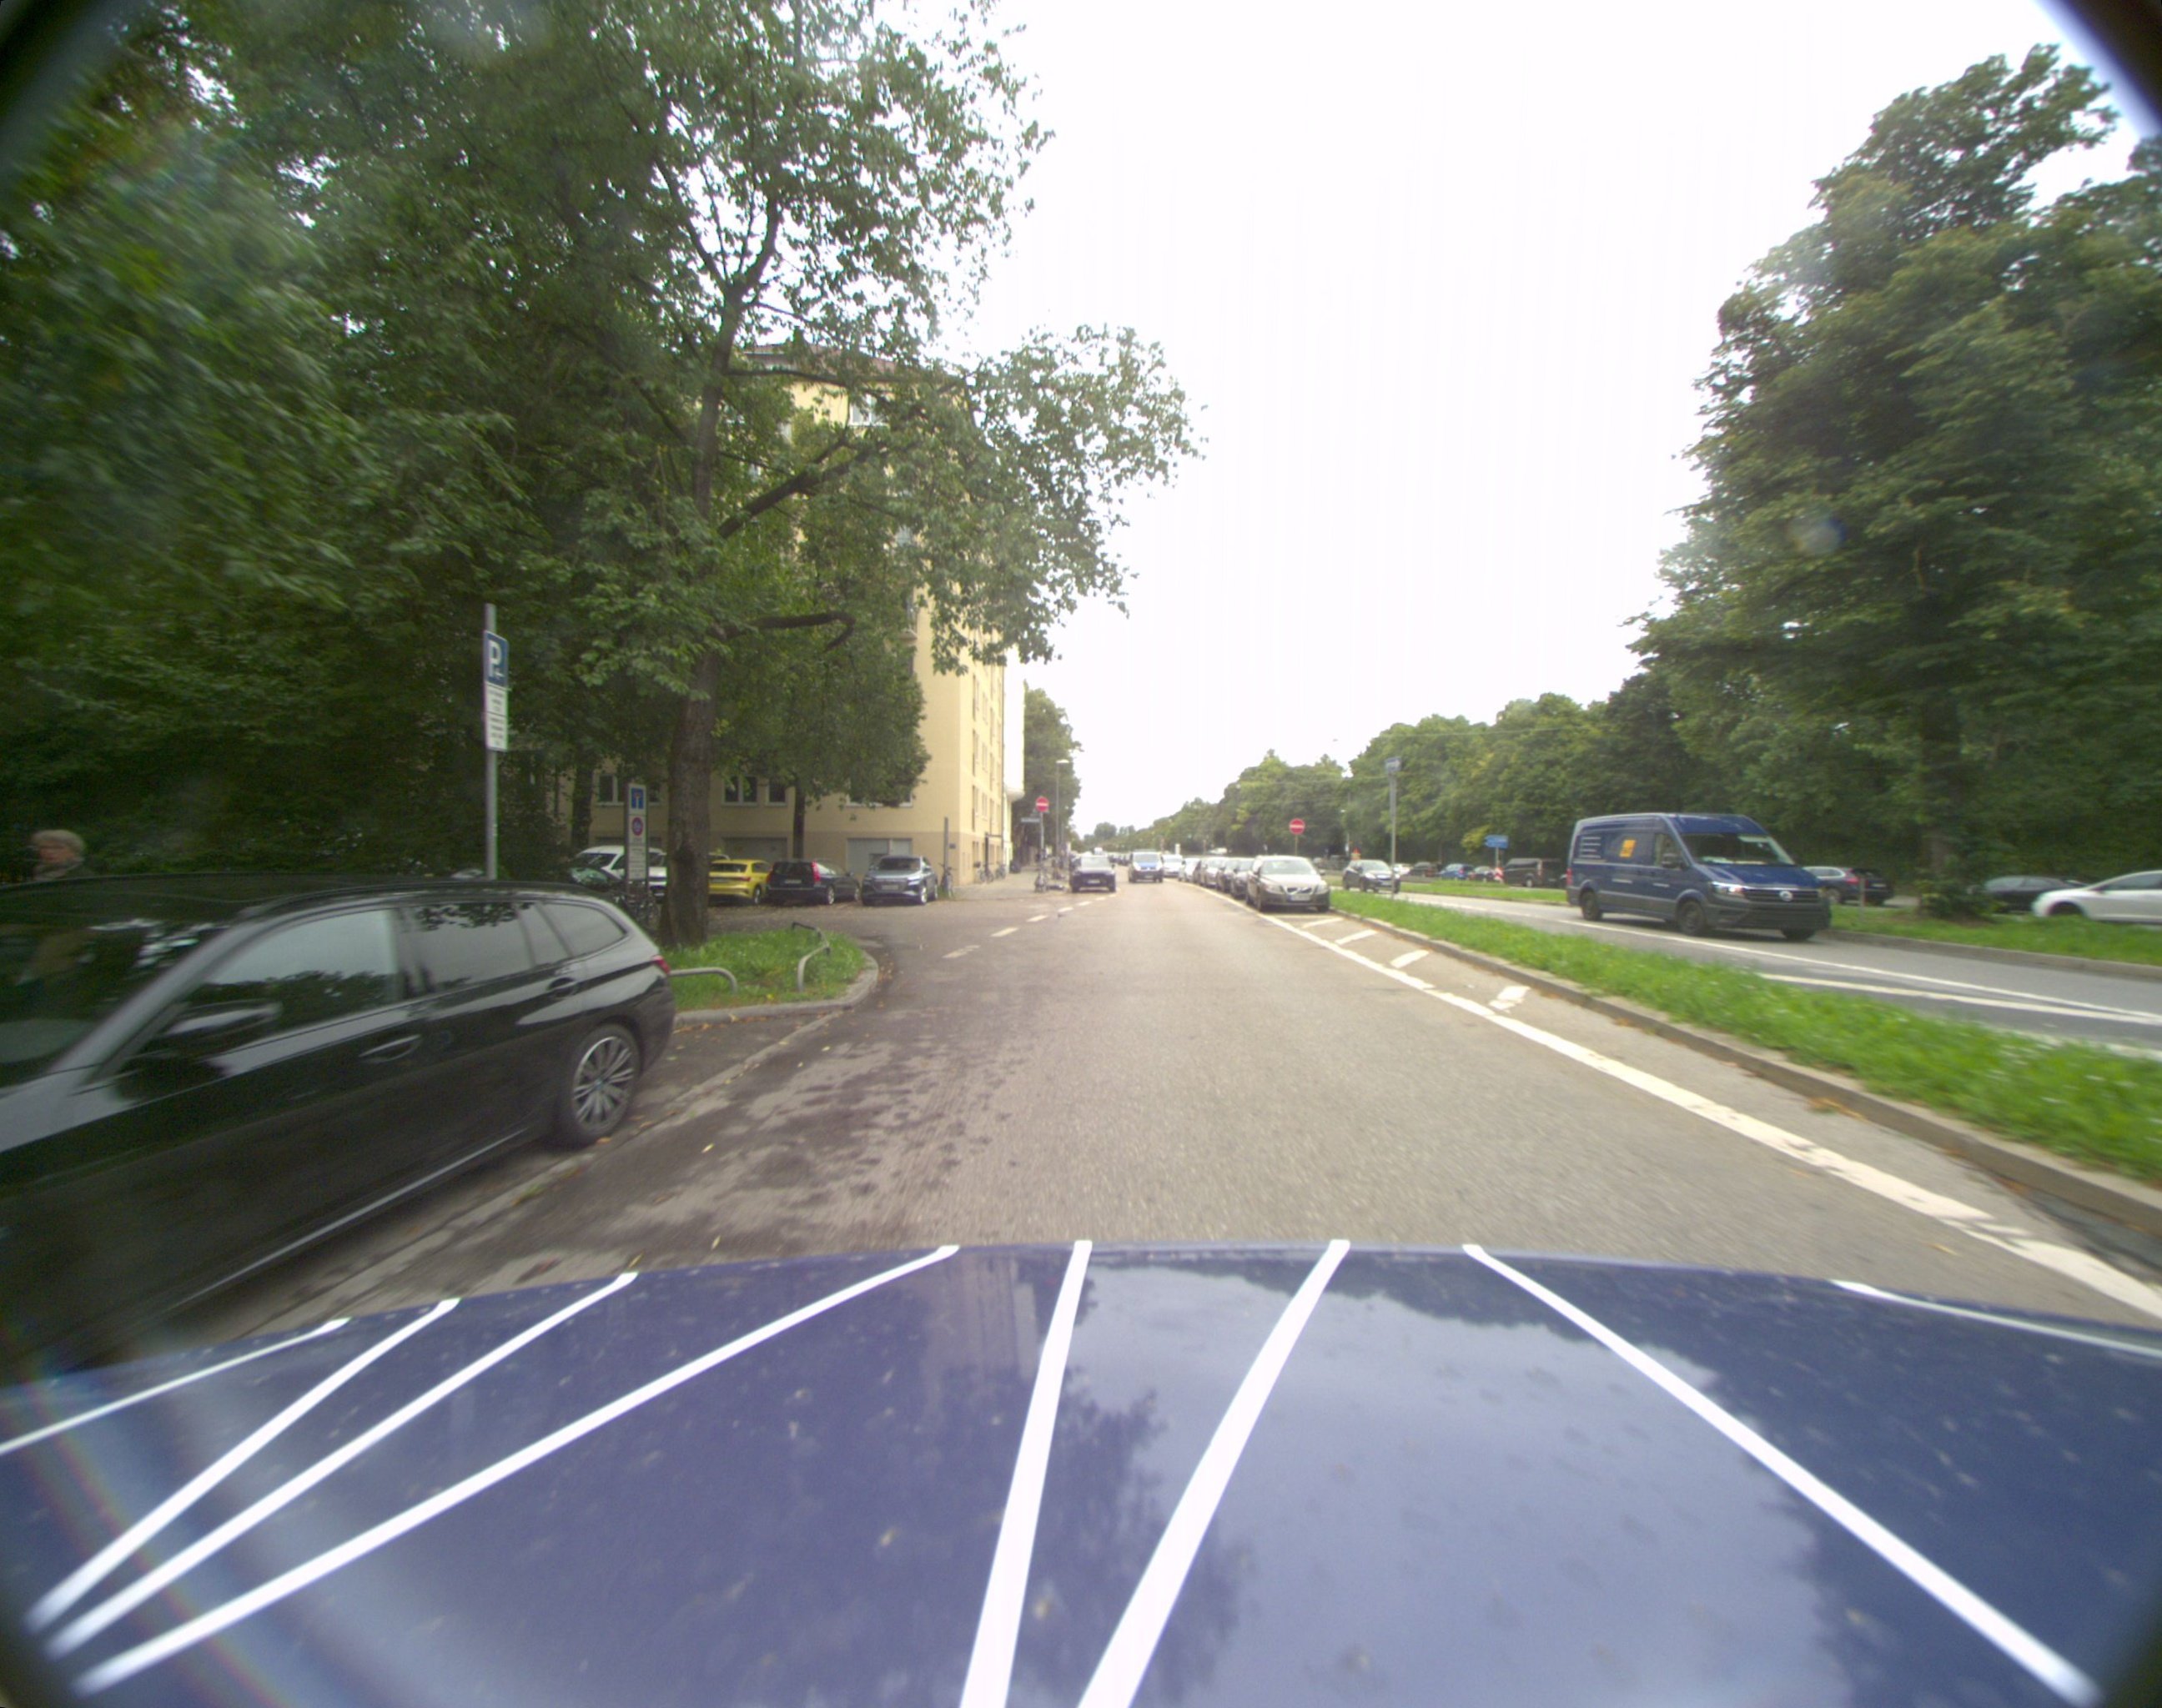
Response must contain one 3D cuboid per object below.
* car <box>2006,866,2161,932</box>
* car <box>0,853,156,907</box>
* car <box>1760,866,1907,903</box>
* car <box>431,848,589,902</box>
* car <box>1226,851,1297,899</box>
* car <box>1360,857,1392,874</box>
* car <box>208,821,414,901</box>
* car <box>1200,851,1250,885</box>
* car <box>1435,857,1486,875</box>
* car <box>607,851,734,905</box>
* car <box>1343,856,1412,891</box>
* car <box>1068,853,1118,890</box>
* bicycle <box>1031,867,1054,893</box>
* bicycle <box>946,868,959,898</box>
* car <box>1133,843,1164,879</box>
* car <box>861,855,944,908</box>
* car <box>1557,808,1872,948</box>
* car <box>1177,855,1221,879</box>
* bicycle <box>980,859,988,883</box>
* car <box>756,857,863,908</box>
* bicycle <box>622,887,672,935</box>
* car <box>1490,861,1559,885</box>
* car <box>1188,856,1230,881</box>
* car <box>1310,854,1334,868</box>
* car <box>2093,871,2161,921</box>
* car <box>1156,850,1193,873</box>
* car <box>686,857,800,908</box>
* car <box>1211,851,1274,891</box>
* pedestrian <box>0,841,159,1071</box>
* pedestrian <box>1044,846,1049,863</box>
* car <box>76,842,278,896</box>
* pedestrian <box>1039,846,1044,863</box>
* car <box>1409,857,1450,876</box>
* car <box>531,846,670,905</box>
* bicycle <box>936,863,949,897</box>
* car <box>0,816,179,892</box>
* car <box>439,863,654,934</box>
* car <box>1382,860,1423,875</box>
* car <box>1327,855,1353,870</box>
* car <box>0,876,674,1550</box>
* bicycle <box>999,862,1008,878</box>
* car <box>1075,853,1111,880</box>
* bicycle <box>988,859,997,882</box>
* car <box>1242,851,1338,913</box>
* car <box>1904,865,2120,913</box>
[{"bbox_3d":[24.868,1.038,17.472,1.833,1.438,4.233,1,0,-6],"label":"car"},{"bbox_3d":[-32.716,0.786,24.104,1.898,1.594,4.118,0,0,35],"label":"car"},{"bbox_3d":[32.708,1.281,33.223,1.999,1.438,4.316,1,0,-3],"label":"car"},{"bbox_3d":[-18.074,0.613,24.345,1.917,1.590,4.244,0,0,-1],"label":"car"},{"bbox_3d":[6.407,0.692,27.430,1.991,1.556,4.285,0,0,7],"label":"car"},{"bbox_3d":[31.932,1.224,82.369,1.998,1.736,4.000,0,0,1],"label":"car"},{"bbox_3d":[-24.296,0.184,24.174,1.899,2.300,4.188,0,0,23],"label":"car"},{"bbox_3d":[6.983,0.639,37.236,1.991,1.556,4.284,0,0,5],"label":"car"},{"bbox_3d":[32.320,1.006,64.903,1.999,1.438,4.316,1,0,-3],"label":"car"},{"bbox_3d":[-13.138,0.709,24.633,1.917,1.610,4.244,0,0,-2],"label":"car"},{"bbox_3d":[14.702,0.941,37.925,1.991,1.618,4.274,0,0,4],"label":"car"},{"bbox_3d":[0.584,0.747,34.412,2.129,1.556,4.508,-1,0,2],"label":"car"},{"bbox_3d":[-1.605,1.060,31.953,0.632,1.031,1.736,1,0,7],"label":"bicycle"},{"bbox_3d":[-4.733,1.041,27.969,0.282,1.055,1.238,0,0,-1],"label":"bicycle"},{"bbox_3d":[4.307,0.390,47.955,1.855,2.198,4.554,0,1,6],"label":"car"},{"bbox_3d":[-5.647,0.812,24.579,1.825,1.556,4.244,0,0,-2],"label":"car"},{"bbox_3d":[12.951,0.376,16.287,2.188,2.450,5.853,0,1,5],"label":"car"},{"bbox_3d":[7.423,0.768,48.139,1.992,1.447,4.281,0,0,-2],"label":"car"},{"bbox_3d":[-4.860,0.840,38.123,0.364,1.164,1.318,0,0,-9],"label":"bicycle"},{"bbox_3d":[-8.639,0.850,24.630,2.054,1.458,4.244,0,0,-2],"label":"car"},{"bbox_3d":[-8.646,1.114,15.171,0.249,0.875,1.080,0,0,9],"label":"bicycle"},{"bbox_3d":[31.287,1.321,53.781,1.999,1.526,4.705,1,0,-3],"label":"car"},{"bbox_3d":[7.278,0.795,43.611,1.766,1.362,4.282,0,0,1],"label":"car"},{"bbox_3d":[31.625,0.918,99.736,1.866,1.736,4.000,0,0,1],"label":"car"},{"bbox_3d":[33.012,1.270,21.729,1.999,1.438,4.524,1,0,-3],"label":"car"},{"bbox_3d":[7.174,0.561,58.883,2.075,1.692,5.089,0,0,-2],"label":"car"},{"bbox_3d":[-10.774,0.852,24.570,1.917,1.458,4.244,0,0,-2],"label":"car"},{"bbox_3d":[6.807,0.676,32.497,1.992,1.556,4.283,0,0,3],"label":"car"},{"bbox_3d":[-7.911,0.710,5.722,0.672,1.614,0.980,0,1,3],"label":"pedestrian"},{"bbox_3d":[-4.186,0.028,92.073,0.458,2.002,0.617,0,0,-17],"label":"pedestrian"},{"bbox_3d":[-29.270,0.449,24.724,1.898,1.594,4.118,1,0,37],"label":"car"},{"bbox_3d":[-4.836,0.036,91.923,0.458,2.002,0.617,0,0,-17],"label":"pedestrian"},{"bbox_3d":[32.142,1.132,70.161,1.911,1.549,3.999,0,1,0],"label":"car"},{"bbox_3d":[-15.568,0.640,24.939,1.917,1.741,4.244,0,0,-1],"label":"car"},{"bbox_3d":[-5.113,0.953,28.067,0.282,1.224,1.238,0,0,-1],"label":"bicycle"},{"bbox_3d":[-34.481,-0.006,25.840,1.973,2.397,4.701,1,0,34],"label":"car"},{"bbox_3d":[-12.077,0.978,17.325,3.705,1.488,1.734,0,0,3],"label":"car"},{"bbox_3d":[32.059,1.314,75.893,1.999,1.438,4.316,1,0,-3],"label":"car"},{"bbox_3d":[31.696,1.040,92.954,1.885,1.736,4.000,0,0,1],"label":"car"},{"bbox_3d":[-3.516,0.934,2.541,1.796,1.488,4.376,3,0,2],"label":"car"},{"bbox_3d":[-4.793,0.995,46.951,0.463,0.998,1.319,0,0,-4],"label":"bicycle"},{"bbox_3d":[0.707,0.739,46.795,2.129,1.556,4.507,-1,0,0],"label":"car"},{"bbox_3d":[-4.650,0.875,40.074,0.401,1.164,1.318,0,0,-10],"label":"bicycle"},{"bbox_3d":[5.791,0.696,21.607,1.902,1.556,4.773,0,0,7],"label":"car"},{"bbox_3d":[32.831,1.181,27.052,1.999,1.438,4.524,1,0,-3],"label":"car"}]
